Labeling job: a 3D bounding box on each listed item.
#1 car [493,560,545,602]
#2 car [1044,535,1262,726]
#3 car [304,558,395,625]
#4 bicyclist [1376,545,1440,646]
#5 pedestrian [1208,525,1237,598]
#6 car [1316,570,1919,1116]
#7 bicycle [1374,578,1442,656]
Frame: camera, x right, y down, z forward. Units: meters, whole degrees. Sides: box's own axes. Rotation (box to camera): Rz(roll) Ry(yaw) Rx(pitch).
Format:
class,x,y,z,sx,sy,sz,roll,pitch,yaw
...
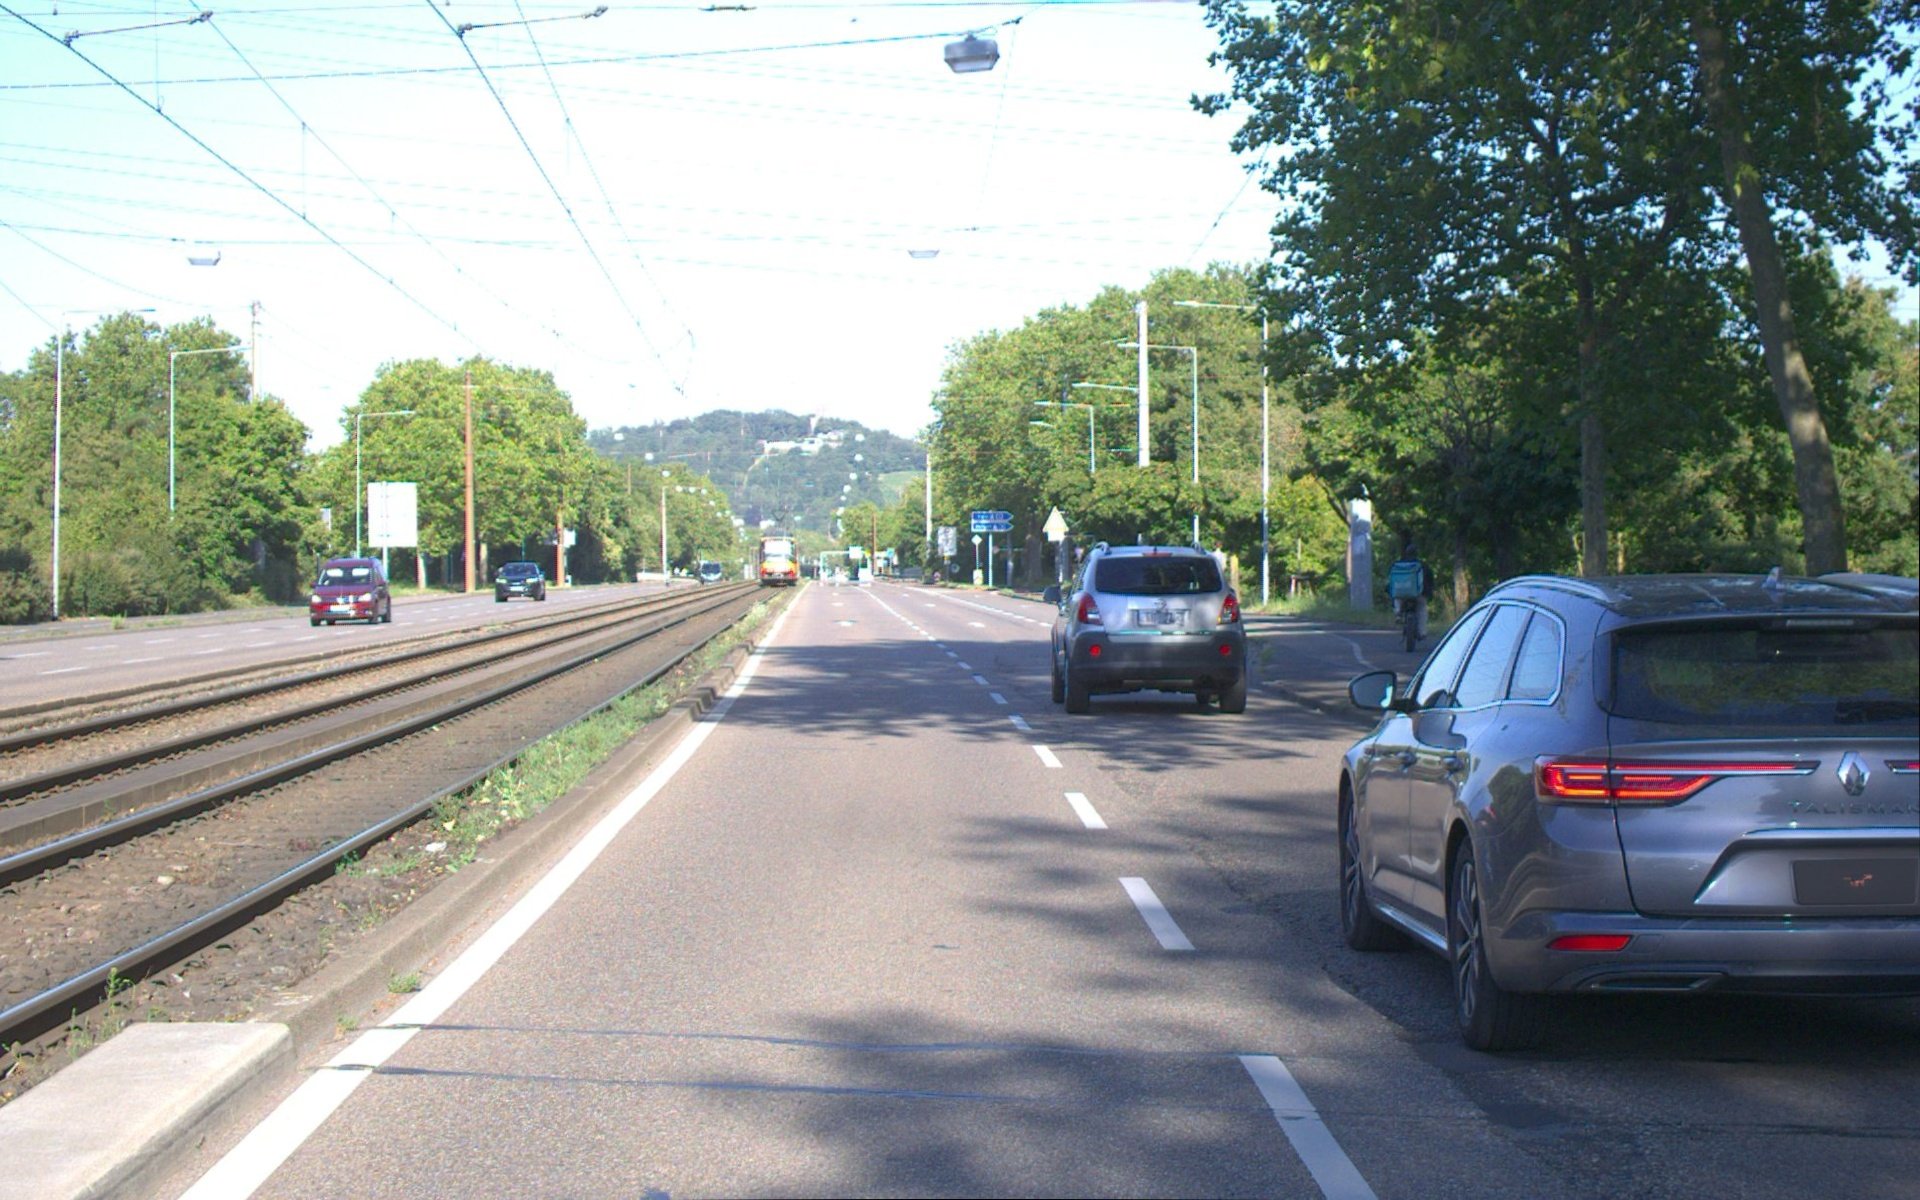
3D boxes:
class,x,y,z,sx,sy,sz,roll,pitch,yaw
car,-18.845,-0.827,147.074,1.905,1.638,4.001,2,1,-4
car,1.958,0.267,35.994,1.883,1.789,4.001,2,1,-2
car,-16.551,-0.256,93.413,1.862,1.714,4.001,0,2,-2
bicyclist,6.723,-0.081,51.622,0.795,1.455,1.112,-2,1,2
pedestrian,6.783,-0.999,88.857,0.626,1.865,0.624,2,1,-2
car,2.404,0.642,11.666,1.866,1.462,4.666,0,1,0
bicycle,6.737,0.249,51.761,0.795,1.090,1.894,-2,1,2
